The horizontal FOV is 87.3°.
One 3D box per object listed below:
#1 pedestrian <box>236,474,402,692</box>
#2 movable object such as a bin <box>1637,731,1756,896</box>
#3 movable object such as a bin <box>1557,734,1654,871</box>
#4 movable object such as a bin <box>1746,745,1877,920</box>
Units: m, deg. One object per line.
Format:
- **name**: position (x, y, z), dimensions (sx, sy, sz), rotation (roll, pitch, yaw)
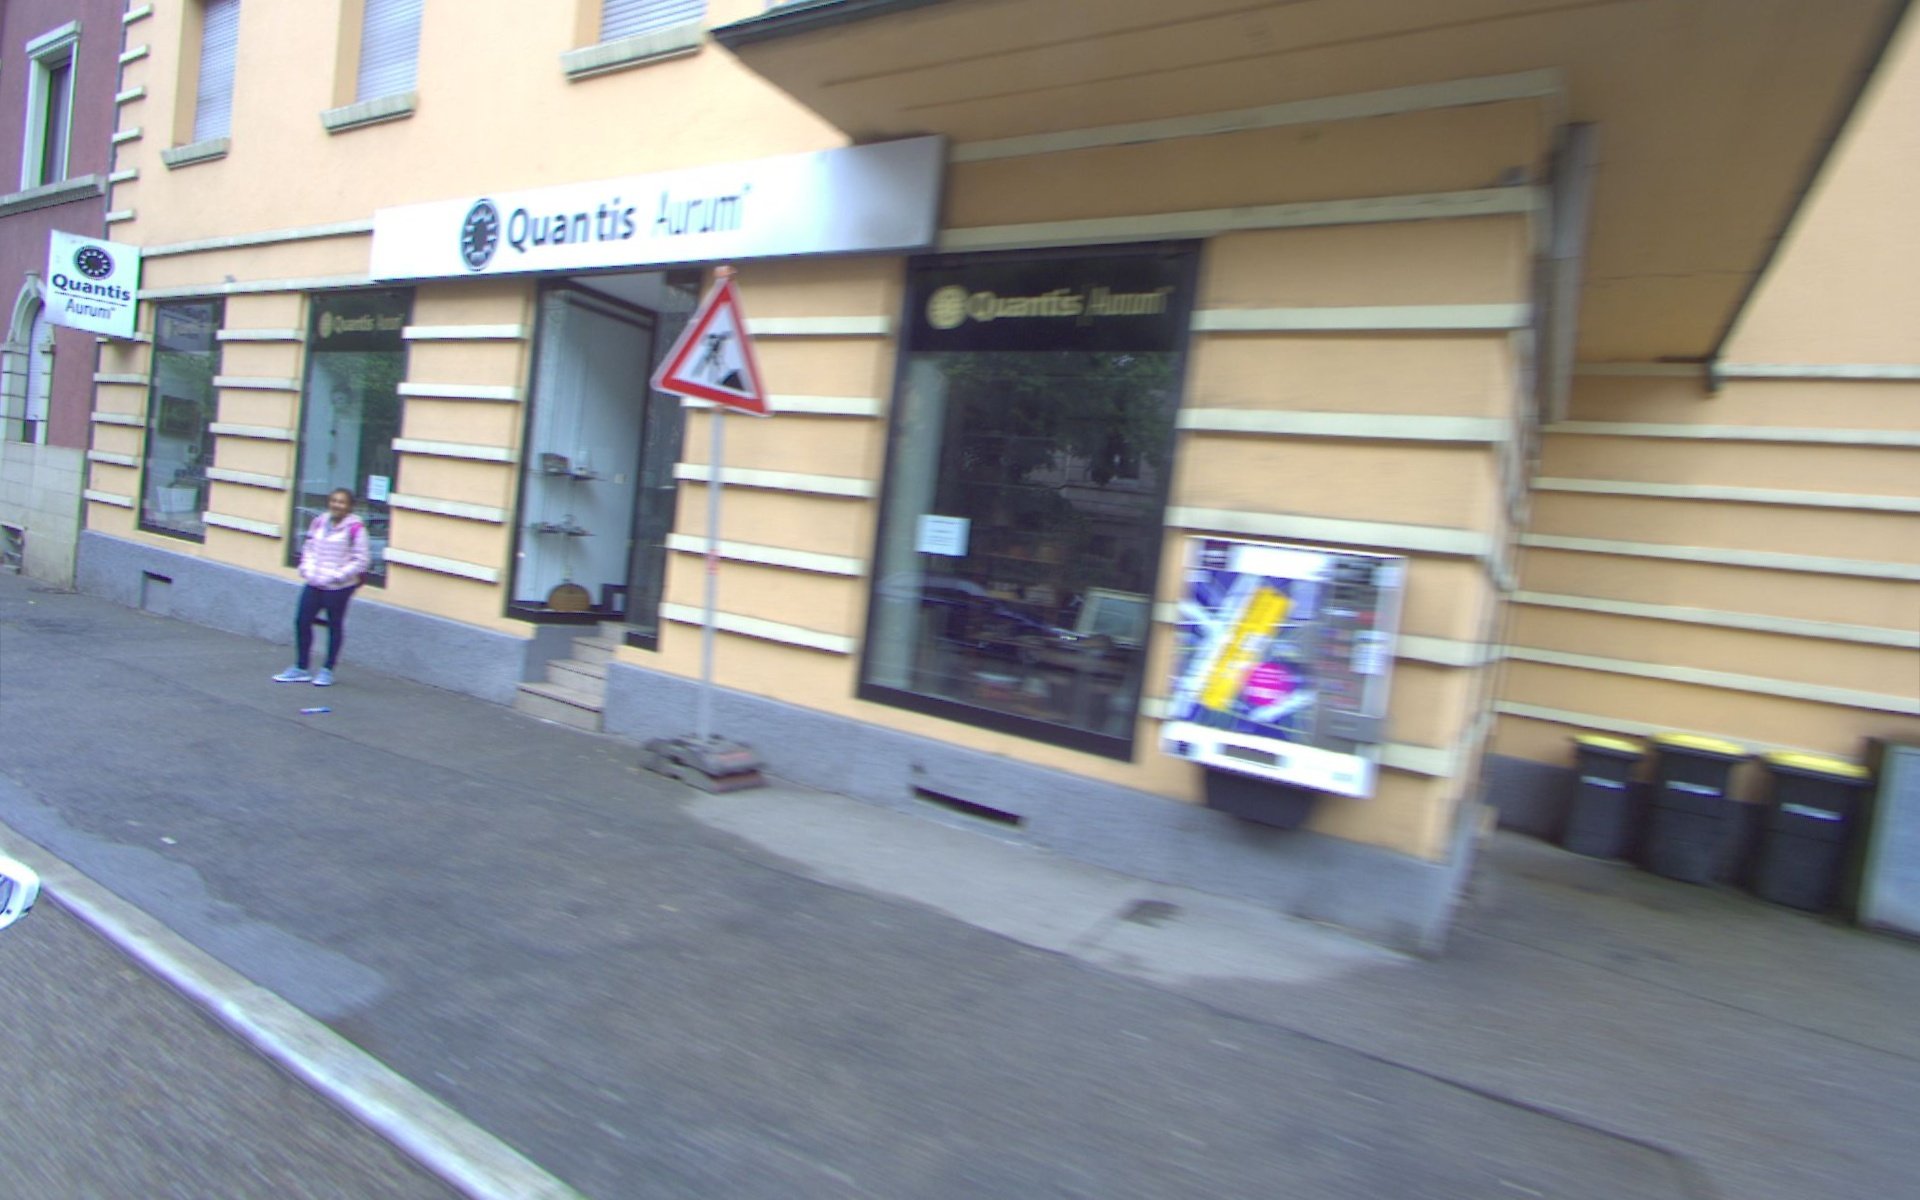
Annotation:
- **pedestrian**: position (-5.111, -0.132, 8.057), dimensions (0.698, 1.610, 0.768), rotation (5, 2, 13)
- **movable object such as a bin**: position (5.492, 1.573, 7.530), dimensions (0.504, 1.070, 0.505), rotation (12, 2, 32)
- **movable object such as a bin**: position (5.068, 1.569, 7.927), dimensions (0.504, 0.930, 0.505), rotation (9, 1, 32)
- **movable object such as a bin**: position (6.033, 1.629, 7.160), dimensions (0.504, 1.055, 0.505), rotation (9, 4, 32)
